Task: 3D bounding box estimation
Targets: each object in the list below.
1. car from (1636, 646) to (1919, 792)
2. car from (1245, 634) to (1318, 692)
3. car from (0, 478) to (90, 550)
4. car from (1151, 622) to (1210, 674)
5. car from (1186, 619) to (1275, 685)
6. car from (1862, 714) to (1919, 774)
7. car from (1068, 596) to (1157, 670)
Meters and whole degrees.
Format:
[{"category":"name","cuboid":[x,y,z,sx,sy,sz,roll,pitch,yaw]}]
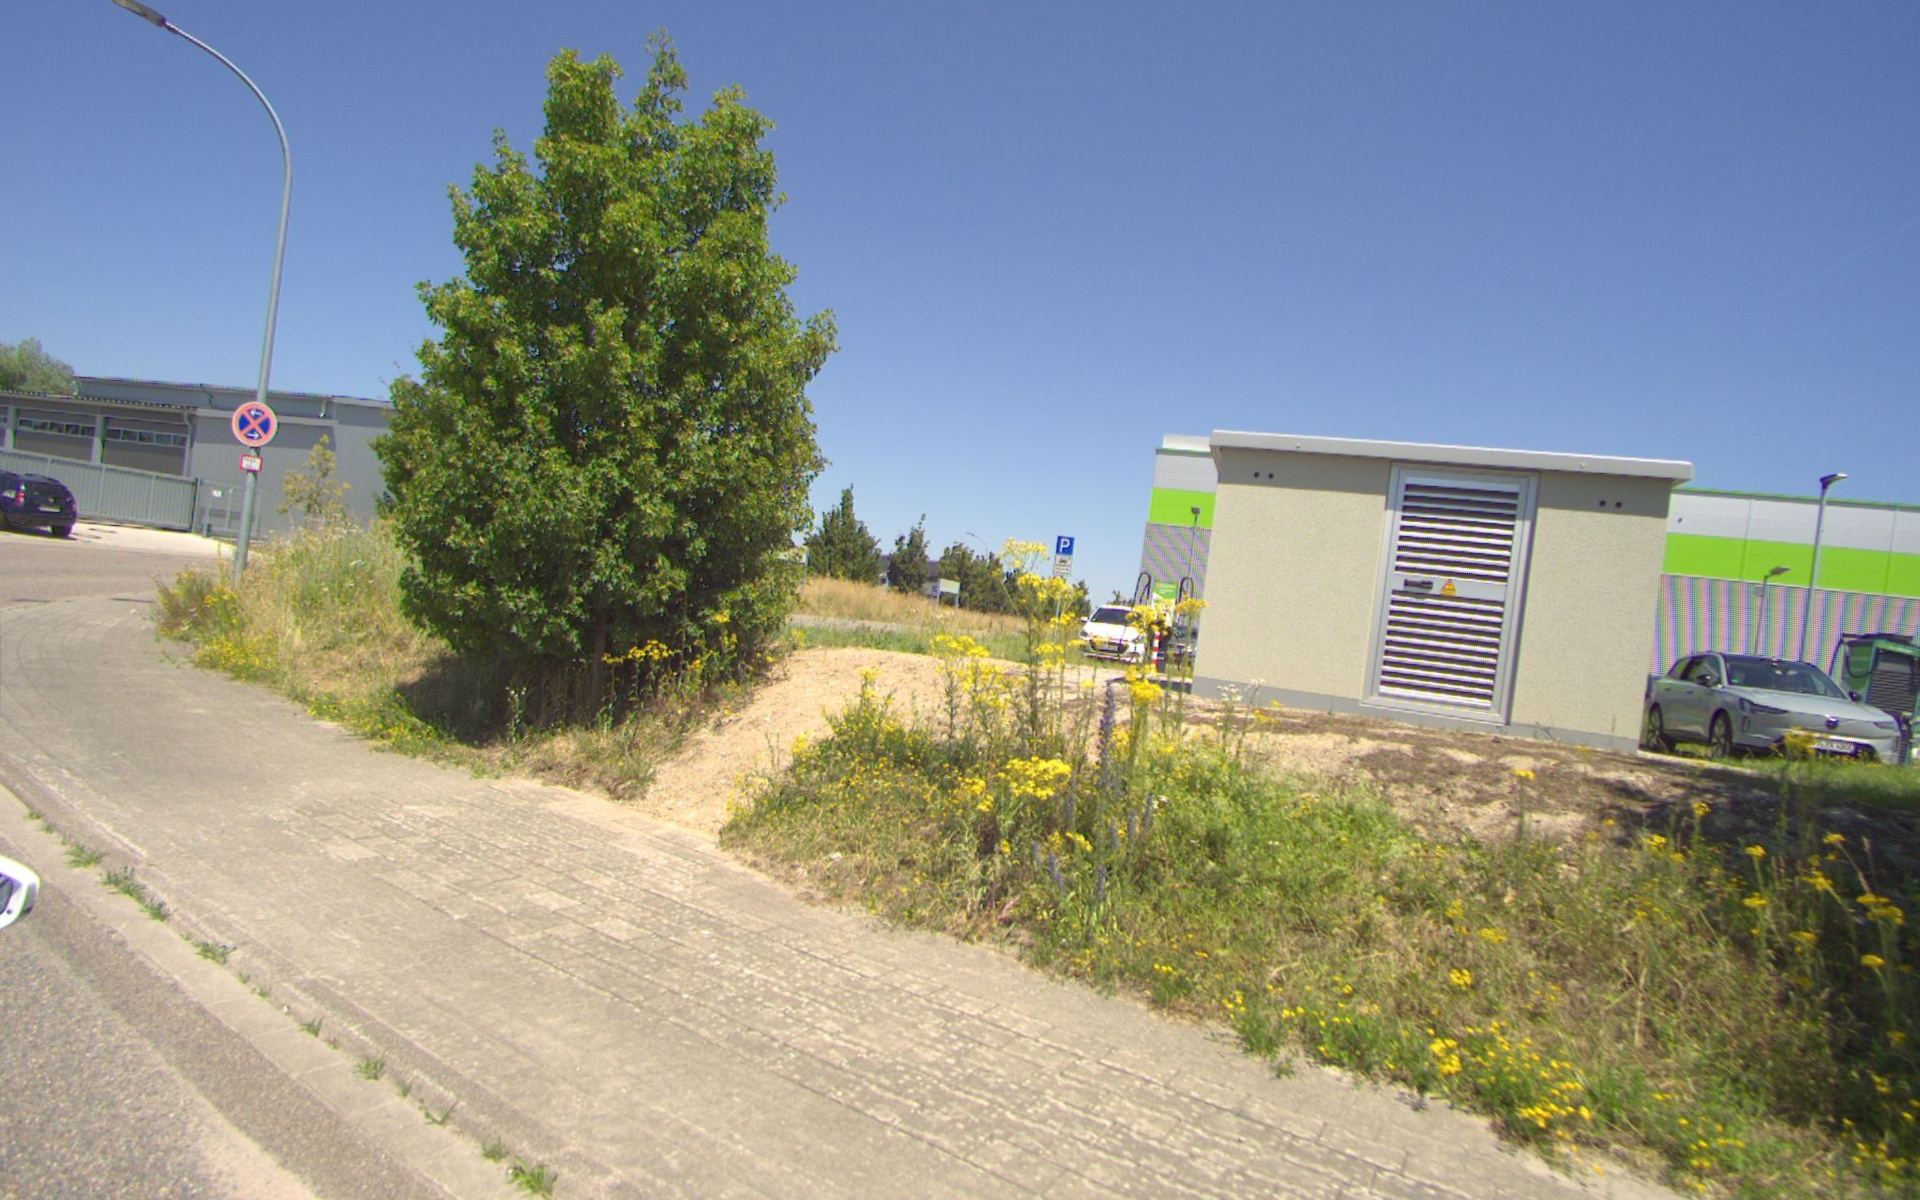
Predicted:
[{"category":"car","cuboid":[12.267,1.661,15.489,1.801,1.646,4.536,6,0,19]},{"category":"car","cuboid":[10.560,2.024,33.283,1.801,1.549,4.000,6,0,13]},{"category":"car","cuboid":[-28.034,-2.642,29.654,3.633,1.629,1.800,10,1,16]},{"category":"car","cuboid":[7.860,1.639,35.760,1.801,1.549,4.000,6,0,13]},{"category":"car","cuboid":[6.517,1.197,24.574,1.801,1.282,4.000,6,0,13]},{"category":"car","cuboid":[28.157,4.260,28.722,1.962,1.537,4.001,6,-1,17]},{"category":"car","cuboid":[3.956,0.805,25.578,1.801,1.549,4.000,6,0,13]}]
